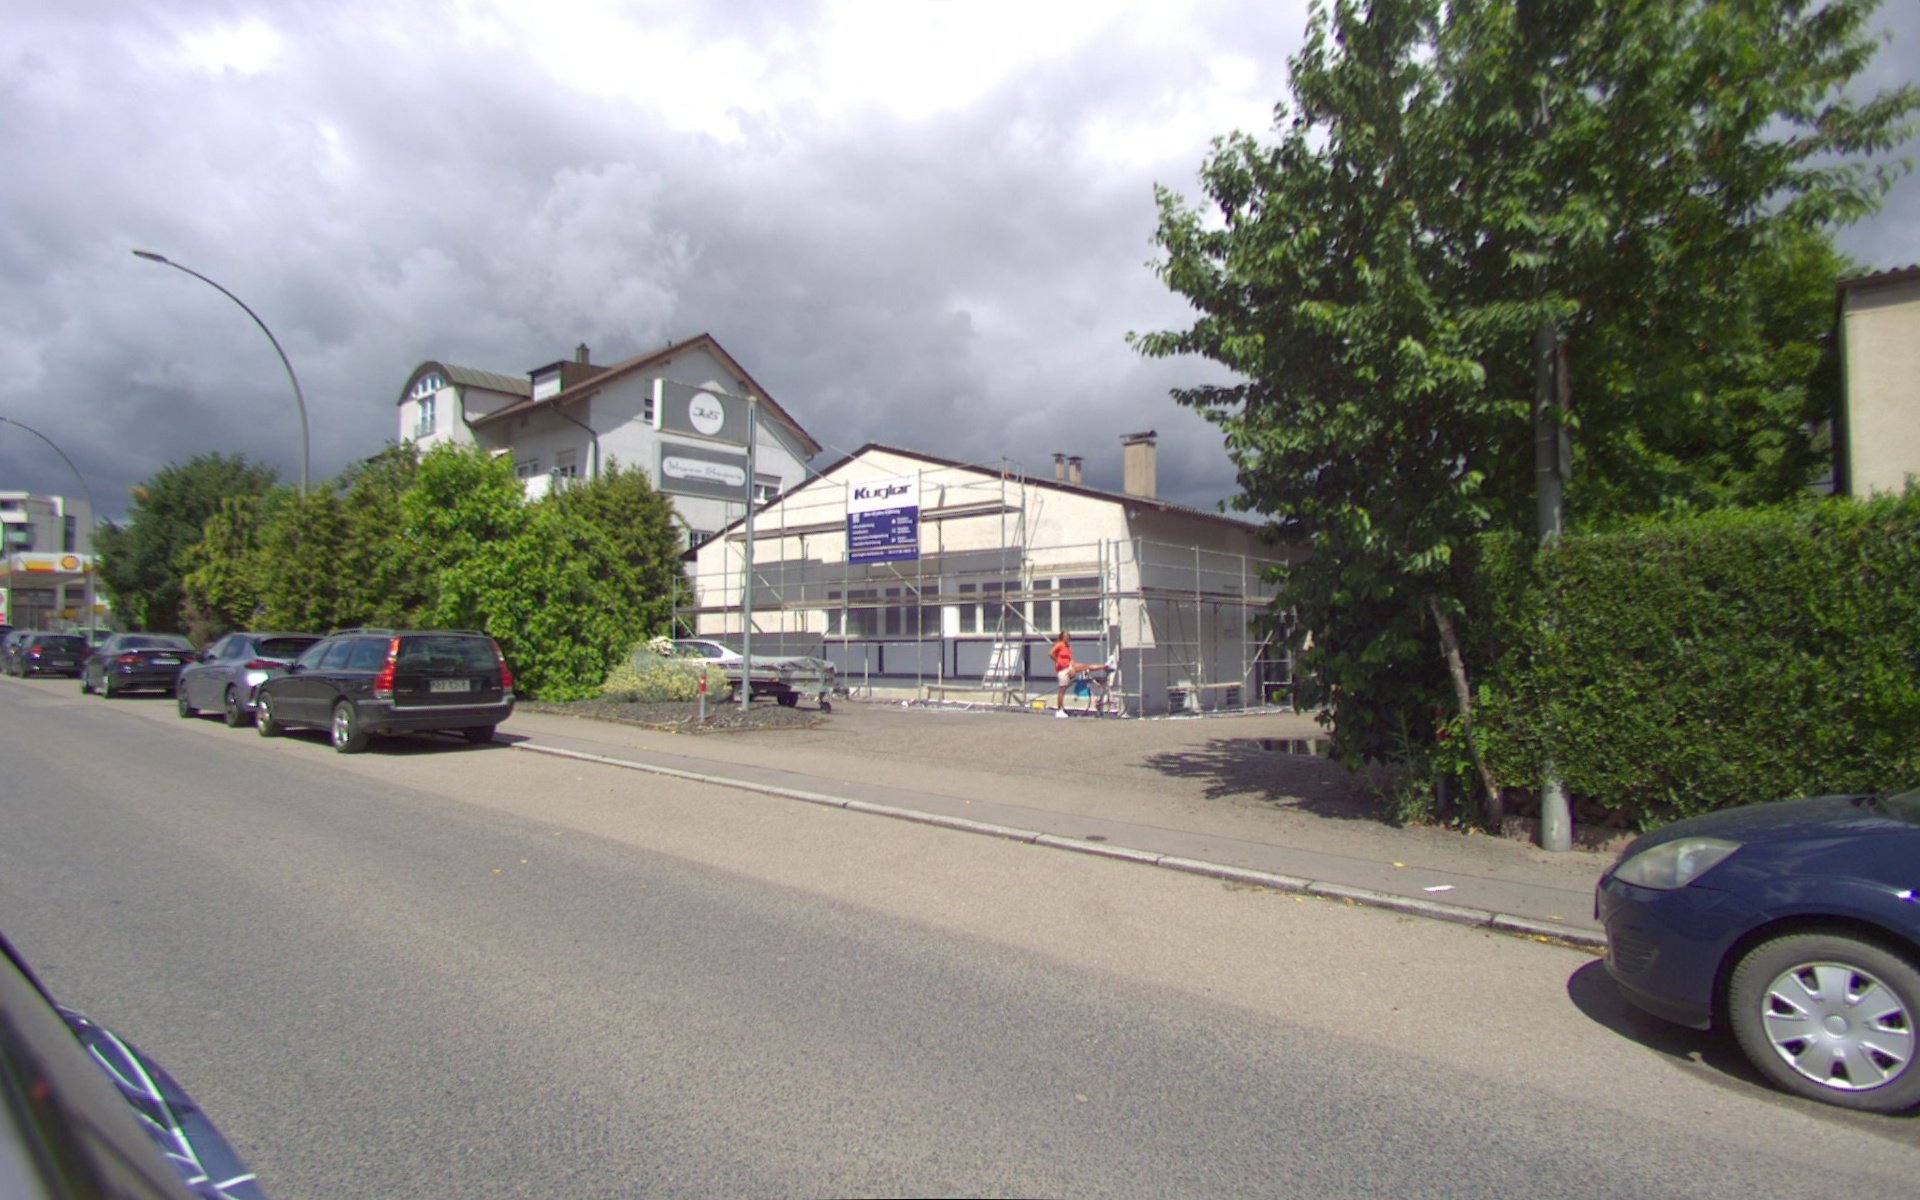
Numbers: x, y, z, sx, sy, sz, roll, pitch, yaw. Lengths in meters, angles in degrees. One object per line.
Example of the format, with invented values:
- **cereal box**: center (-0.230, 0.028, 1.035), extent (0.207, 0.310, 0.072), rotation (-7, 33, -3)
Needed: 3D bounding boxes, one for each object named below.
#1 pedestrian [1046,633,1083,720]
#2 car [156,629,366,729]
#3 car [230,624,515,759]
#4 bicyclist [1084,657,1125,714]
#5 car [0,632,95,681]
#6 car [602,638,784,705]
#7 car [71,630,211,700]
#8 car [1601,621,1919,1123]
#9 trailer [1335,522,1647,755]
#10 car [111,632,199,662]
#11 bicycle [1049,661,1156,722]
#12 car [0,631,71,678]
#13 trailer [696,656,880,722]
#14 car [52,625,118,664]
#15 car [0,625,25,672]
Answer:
- **pedestrian**: center (2.045, 1.493, 19.812), extent (0.497, 1.660, 0.518), rotation (-2, -5, 40)
- **car**: center (-11.563, 1.254, 16.644), extent (4.195, 1.443, 1.702), rotation (-2, -5, 39)
- **car**: center (-7.942, 1.123, 13.491), extent (4.730, 1.504, 1.702), rotation (-2, -4, 39)
- **bicyclist**: center (2.853, 1.673, 19.992), extent (0.609, 1.069, 0.474), rotation (-2, -1, 41)
- **car**: center (-28.641, 1.766, 31.689), extent (4.335, 1.446, 1.645), rotation (-2, -5, 41)
- **car**: center (-6.174, 1.691, 23.845), extent (3.936, 1.398, 1.896), rotation (2, -4, -9)
- **car**: center (-18.388, 1.436, 22.663), extent (4.335, 1.425, 1.645), rotation (-2, -4, 41)
- **car**: center (4.323, 0.850, 2.925), extent (3.996, 1.498, 1.623), rotation (-2, -6, 40)
- **trailer**: center (8.011, 0.678, 14.870), extent (2.731, 2.672, 6.176), rotation (-2, -5, 41)
- **car**: center (-53.053, 3.064, 66.850), extent (1.947, 1.866, 4.984), rotation (0, -2, -1)
- **bicycle**: center (2.789, 1.786, 20.023), extent (2.183, 1.094, 0.465), rotation (-2, -1, 41)
- **car**: center (-32.434, 1.885, 35.178), extent (3.942, 1.523, 1.645), rotation (-2, -6, 41)
- **trailer**: center (-3.466, 1.707, 20.053), extent (3.812, 1.135, 1.543), rotation (-2, -3, 41)
- **car**: center (-42.721, 2.154, 49.378), extent (4.334, 1.799, 1.774), rotation (-2, -2, 40)
- **car**: center (-40.762, 1.985, 42.194), extent (5.426, 1.835, 1.891), rotation (-2, -7, 41)
